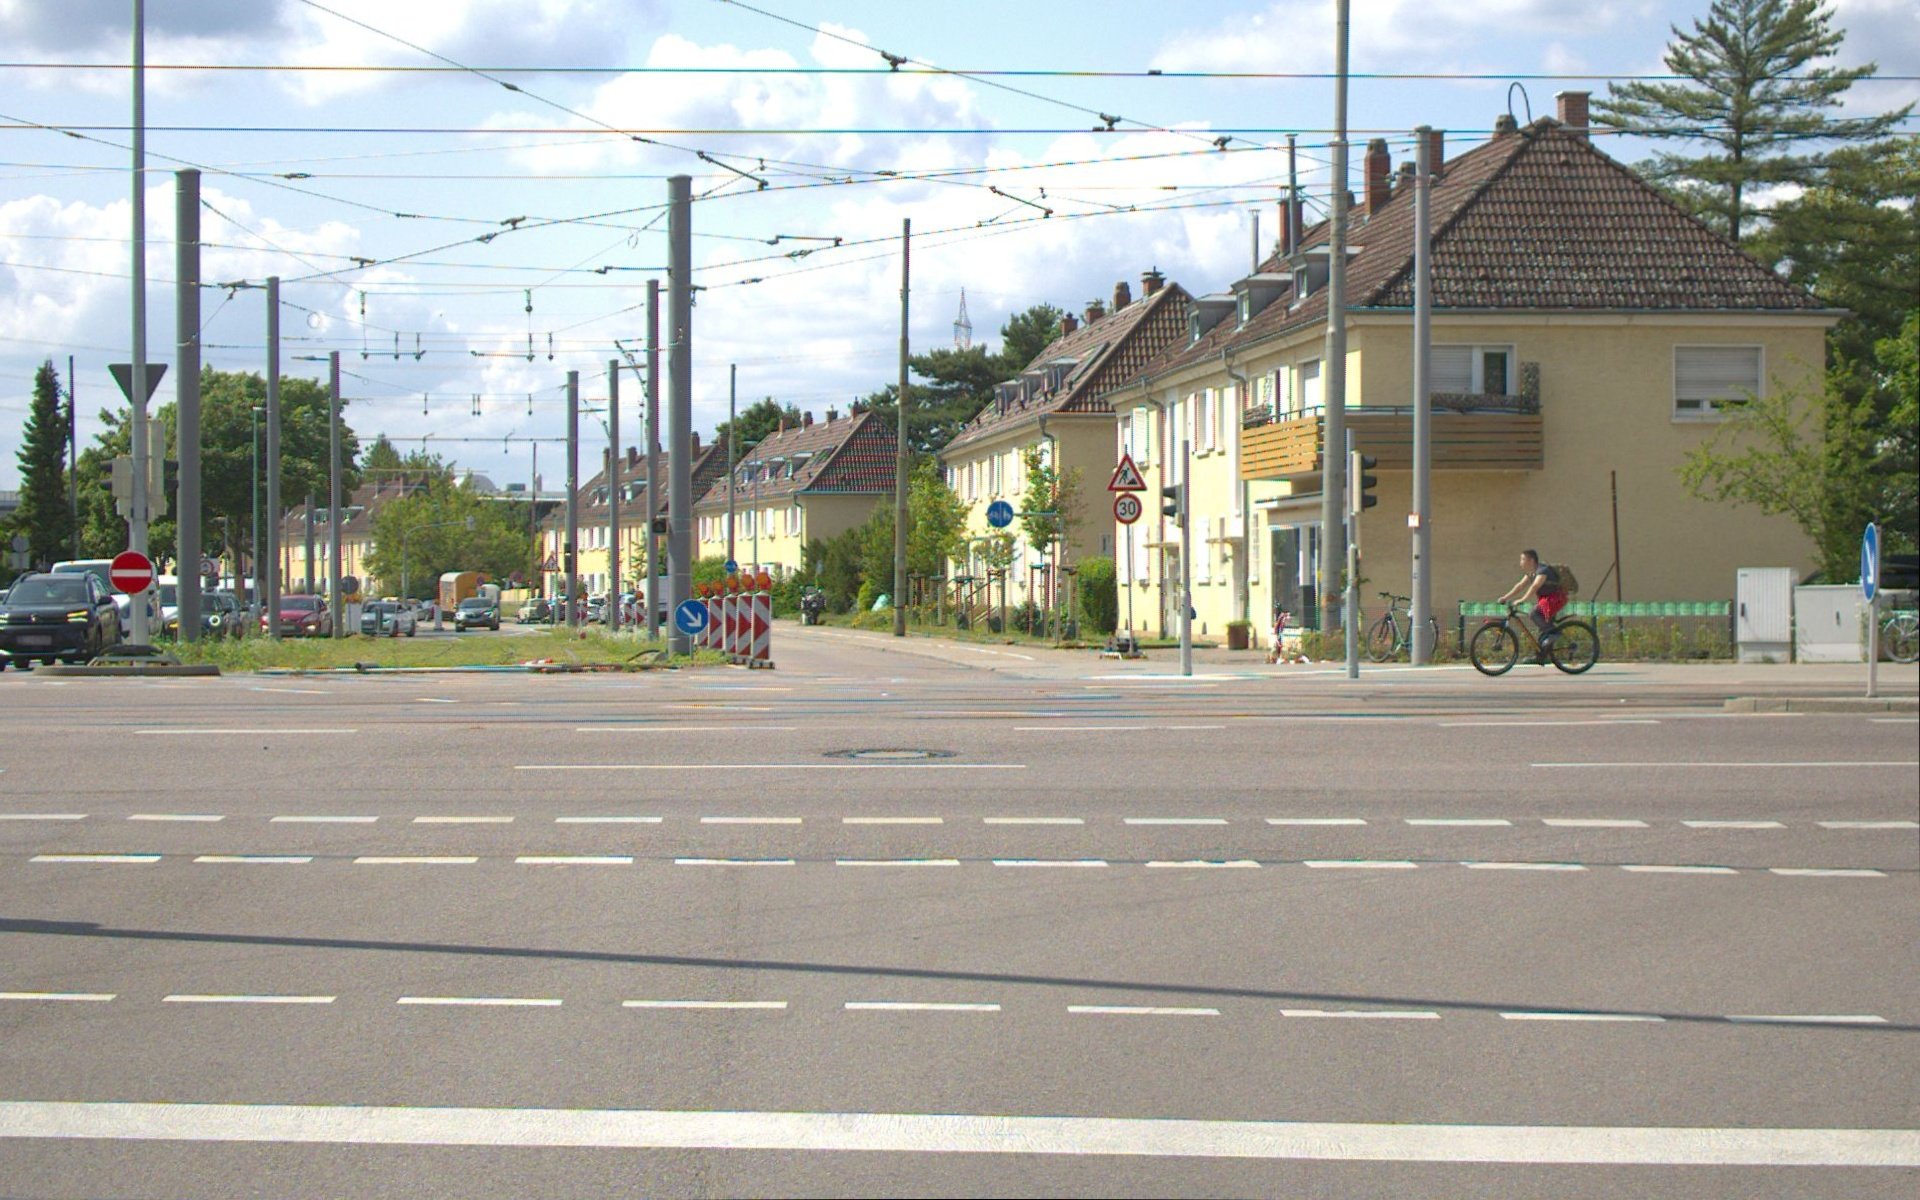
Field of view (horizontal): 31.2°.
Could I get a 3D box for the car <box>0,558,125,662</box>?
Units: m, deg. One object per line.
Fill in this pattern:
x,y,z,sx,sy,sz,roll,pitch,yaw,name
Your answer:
-15.647,0.141,59.554,1.786,1.715,4.442,0,1,-7,car

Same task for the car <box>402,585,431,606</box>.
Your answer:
-36.256,-0.301,229.477,1.257,1.421,2.666,0,0,-24,car

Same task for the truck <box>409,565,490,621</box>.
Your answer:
-32.322,-0.432,217.526,2.640,3.482,9.439,0,0,-24,truck

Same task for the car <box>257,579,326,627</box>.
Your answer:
-21.490,0.093,110.596,1.843,1.489,4.857,0,0,-7,car

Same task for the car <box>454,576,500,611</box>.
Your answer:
-22.330,-0.316,159.140,1.819,1.546,4.001,0,1,-4,car

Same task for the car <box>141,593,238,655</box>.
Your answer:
-18.079,0.544,80.790,1.914,1.414,4.001,0,0,-8,car

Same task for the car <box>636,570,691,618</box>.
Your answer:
-13.561,-0.281,157.271,2.065,2.142,4.879,0,0,-10,car

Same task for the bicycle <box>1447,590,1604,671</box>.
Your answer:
7.833,0.420,47.626,2.026,1.098,0.715,0,0,-11,bicycle

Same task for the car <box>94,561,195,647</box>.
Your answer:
-17.485,0.080,73.841,1.732,1.776,4.406,-1,0,-9,car

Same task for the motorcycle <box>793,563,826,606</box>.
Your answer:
-5.776,-0.580,131.939,1.066,1.630,2.084,0,0,-8,motorcycle

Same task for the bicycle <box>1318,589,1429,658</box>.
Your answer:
6.687,0.370,55.714,0.593,1.093,2.277,0,0,-28,bicycle

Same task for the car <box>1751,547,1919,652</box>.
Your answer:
14.422,0.014,55.392,1.821,1.615,4.001,0,-1,-10,car

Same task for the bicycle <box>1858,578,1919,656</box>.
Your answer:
13.686,0.234,48.588,1.806,1.101,0.701,0,0,39,bicycle

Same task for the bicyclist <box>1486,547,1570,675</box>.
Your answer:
7.898,0.153,47.831,0.957,1.769,0.720,0,0,-10,bicyclist

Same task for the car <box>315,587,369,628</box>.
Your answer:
-24.161,0.283,134.458,1.843,1.556,4.188,0,0,-7,car

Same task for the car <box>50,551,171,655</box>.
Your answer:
-16.258,0.052,65.970,1.814,1.915,4.749,0,0,-9,car
